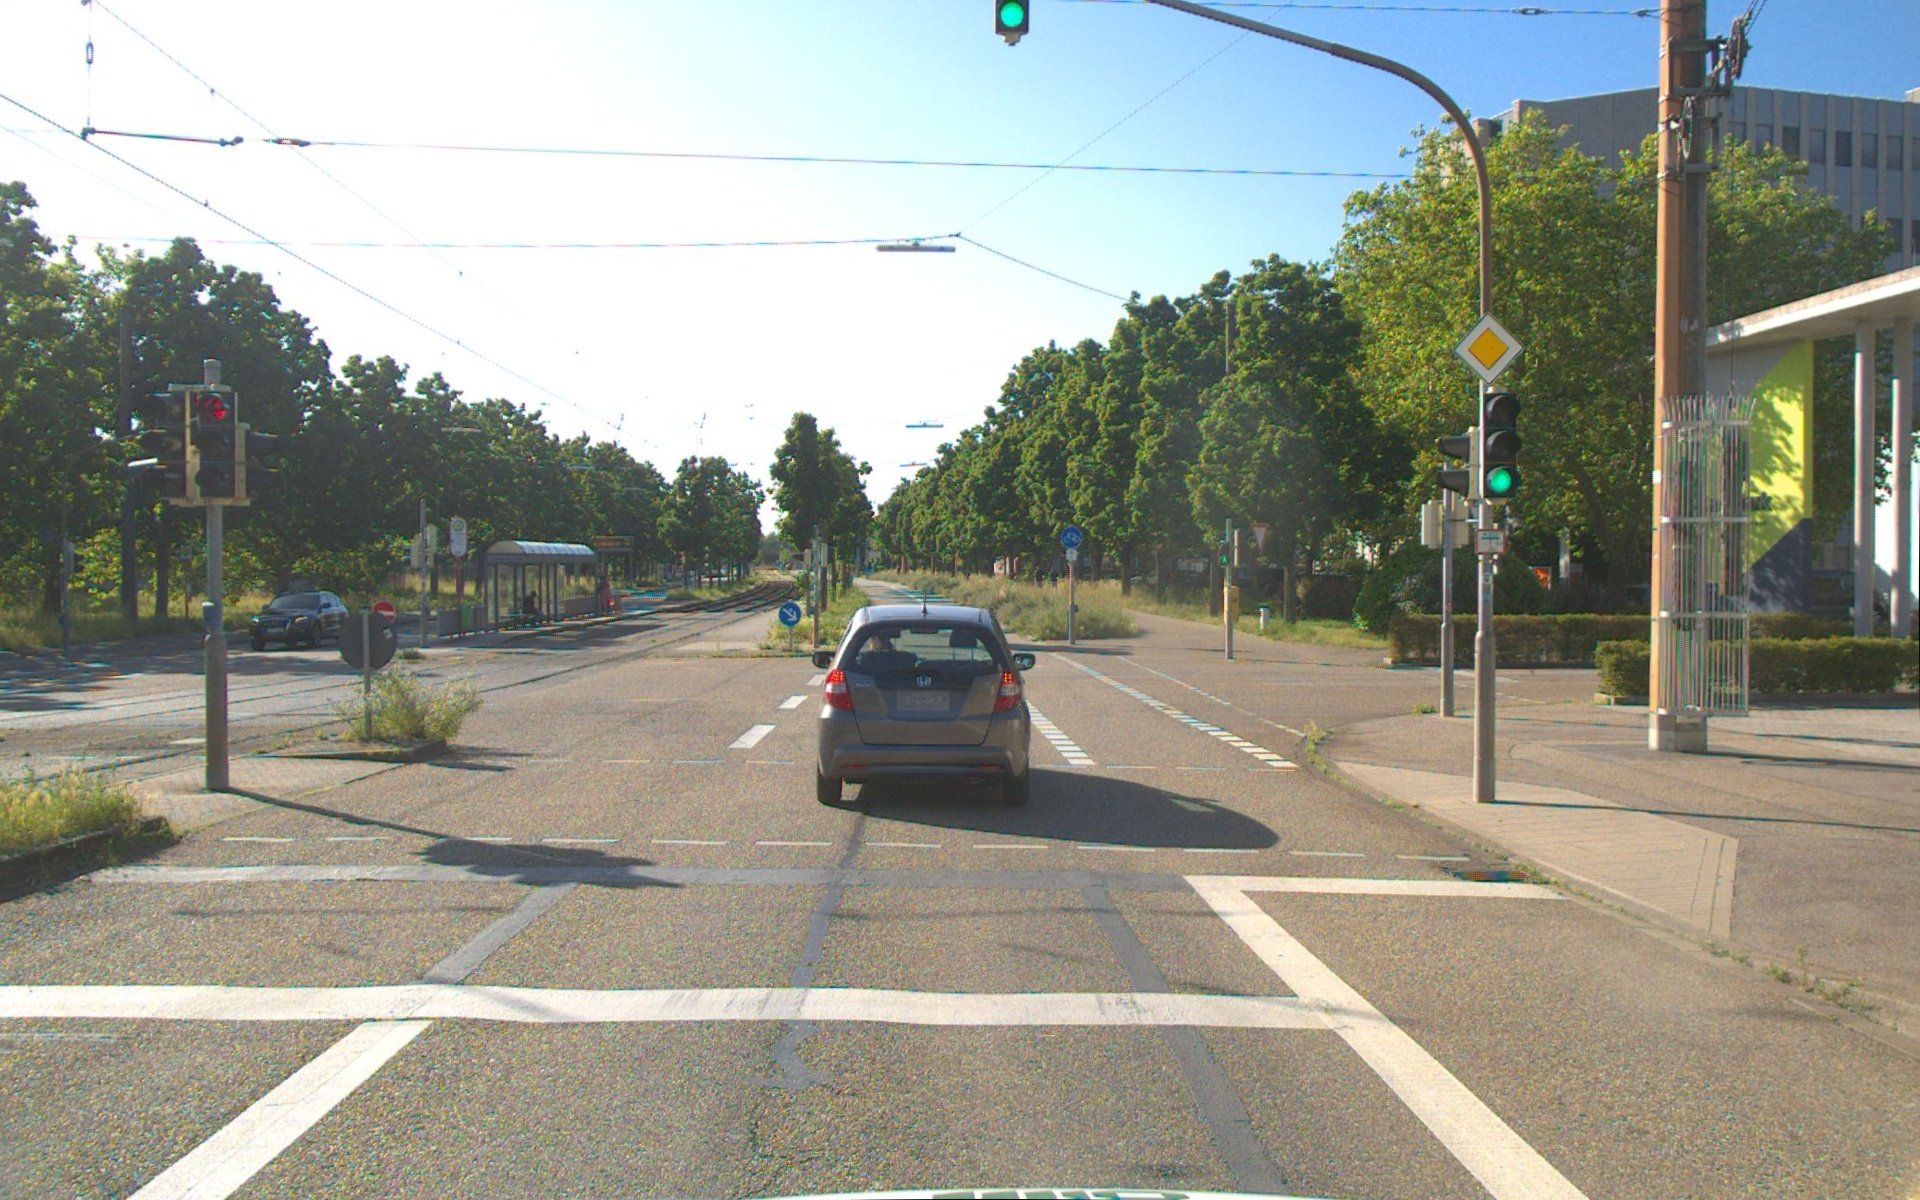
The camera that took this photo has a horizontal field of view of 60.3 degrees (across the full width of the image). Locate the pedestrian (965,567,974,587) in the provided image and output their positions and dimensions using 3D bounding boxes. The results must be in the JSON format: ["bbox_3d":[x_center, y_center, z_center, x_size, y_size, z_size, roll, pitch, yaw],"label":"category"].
[{"bbox_3d":[0.802,-1.985,142.027,0.710,1.720,0.820,0,0,-3],"label":"pedestrian"}]

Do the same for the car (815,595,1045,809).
[{"bbox_3d":[-0.250,0.755,13.931,1.666,1.550,3.708,0,0,-1],"label":"car"}]

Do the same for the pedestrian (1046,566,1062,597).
[{"bbox_3d":[5.788,-1.127,101.893,0.865,1.917,0.874,-1,1,-5],"label":"pedestrian"}]

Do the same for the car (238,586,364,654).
[{"bbox_3d":[-20.004,0.554,50.405,2.052,1.841,4.790,-2,1,-3],"label":"car"}]

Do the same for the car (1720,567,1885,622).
[{"bbox_3d":[27.960,-0.197,54.902,4.803,1.788,2.083,0,0,-16],"label":"car"}]

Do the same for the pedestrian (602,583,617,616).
[{"bbox_3d":[-15.671,-0.033,73.886,0.533,1.473,0.559,-1,0,-1],"label":"pedestrian"}]

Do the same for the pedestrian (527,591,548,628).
[{"bbox_3d":[-15.146,0.339,59.331,0.552,1.279,0.580,-2,0,-2],"label":"pedestrian"}]

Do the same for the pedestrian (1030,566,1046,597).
[{"bbox_3d":[4.787,-1.140,101.852,0.865,1.917,0.874,-1,1,-5],"label":"pedestrian"}]

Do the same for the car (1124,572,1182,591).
[{"bbox_3d":[16.222,-1.548,138.921,4.543,1.583,1.997,-1,1,-7],"label":"car"}]

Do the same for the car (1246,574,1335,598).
[{"bbox_3d":[19.007,-0.815,95.151,4.588,1.350,2.086,0,1,34],"label":"car"}]
